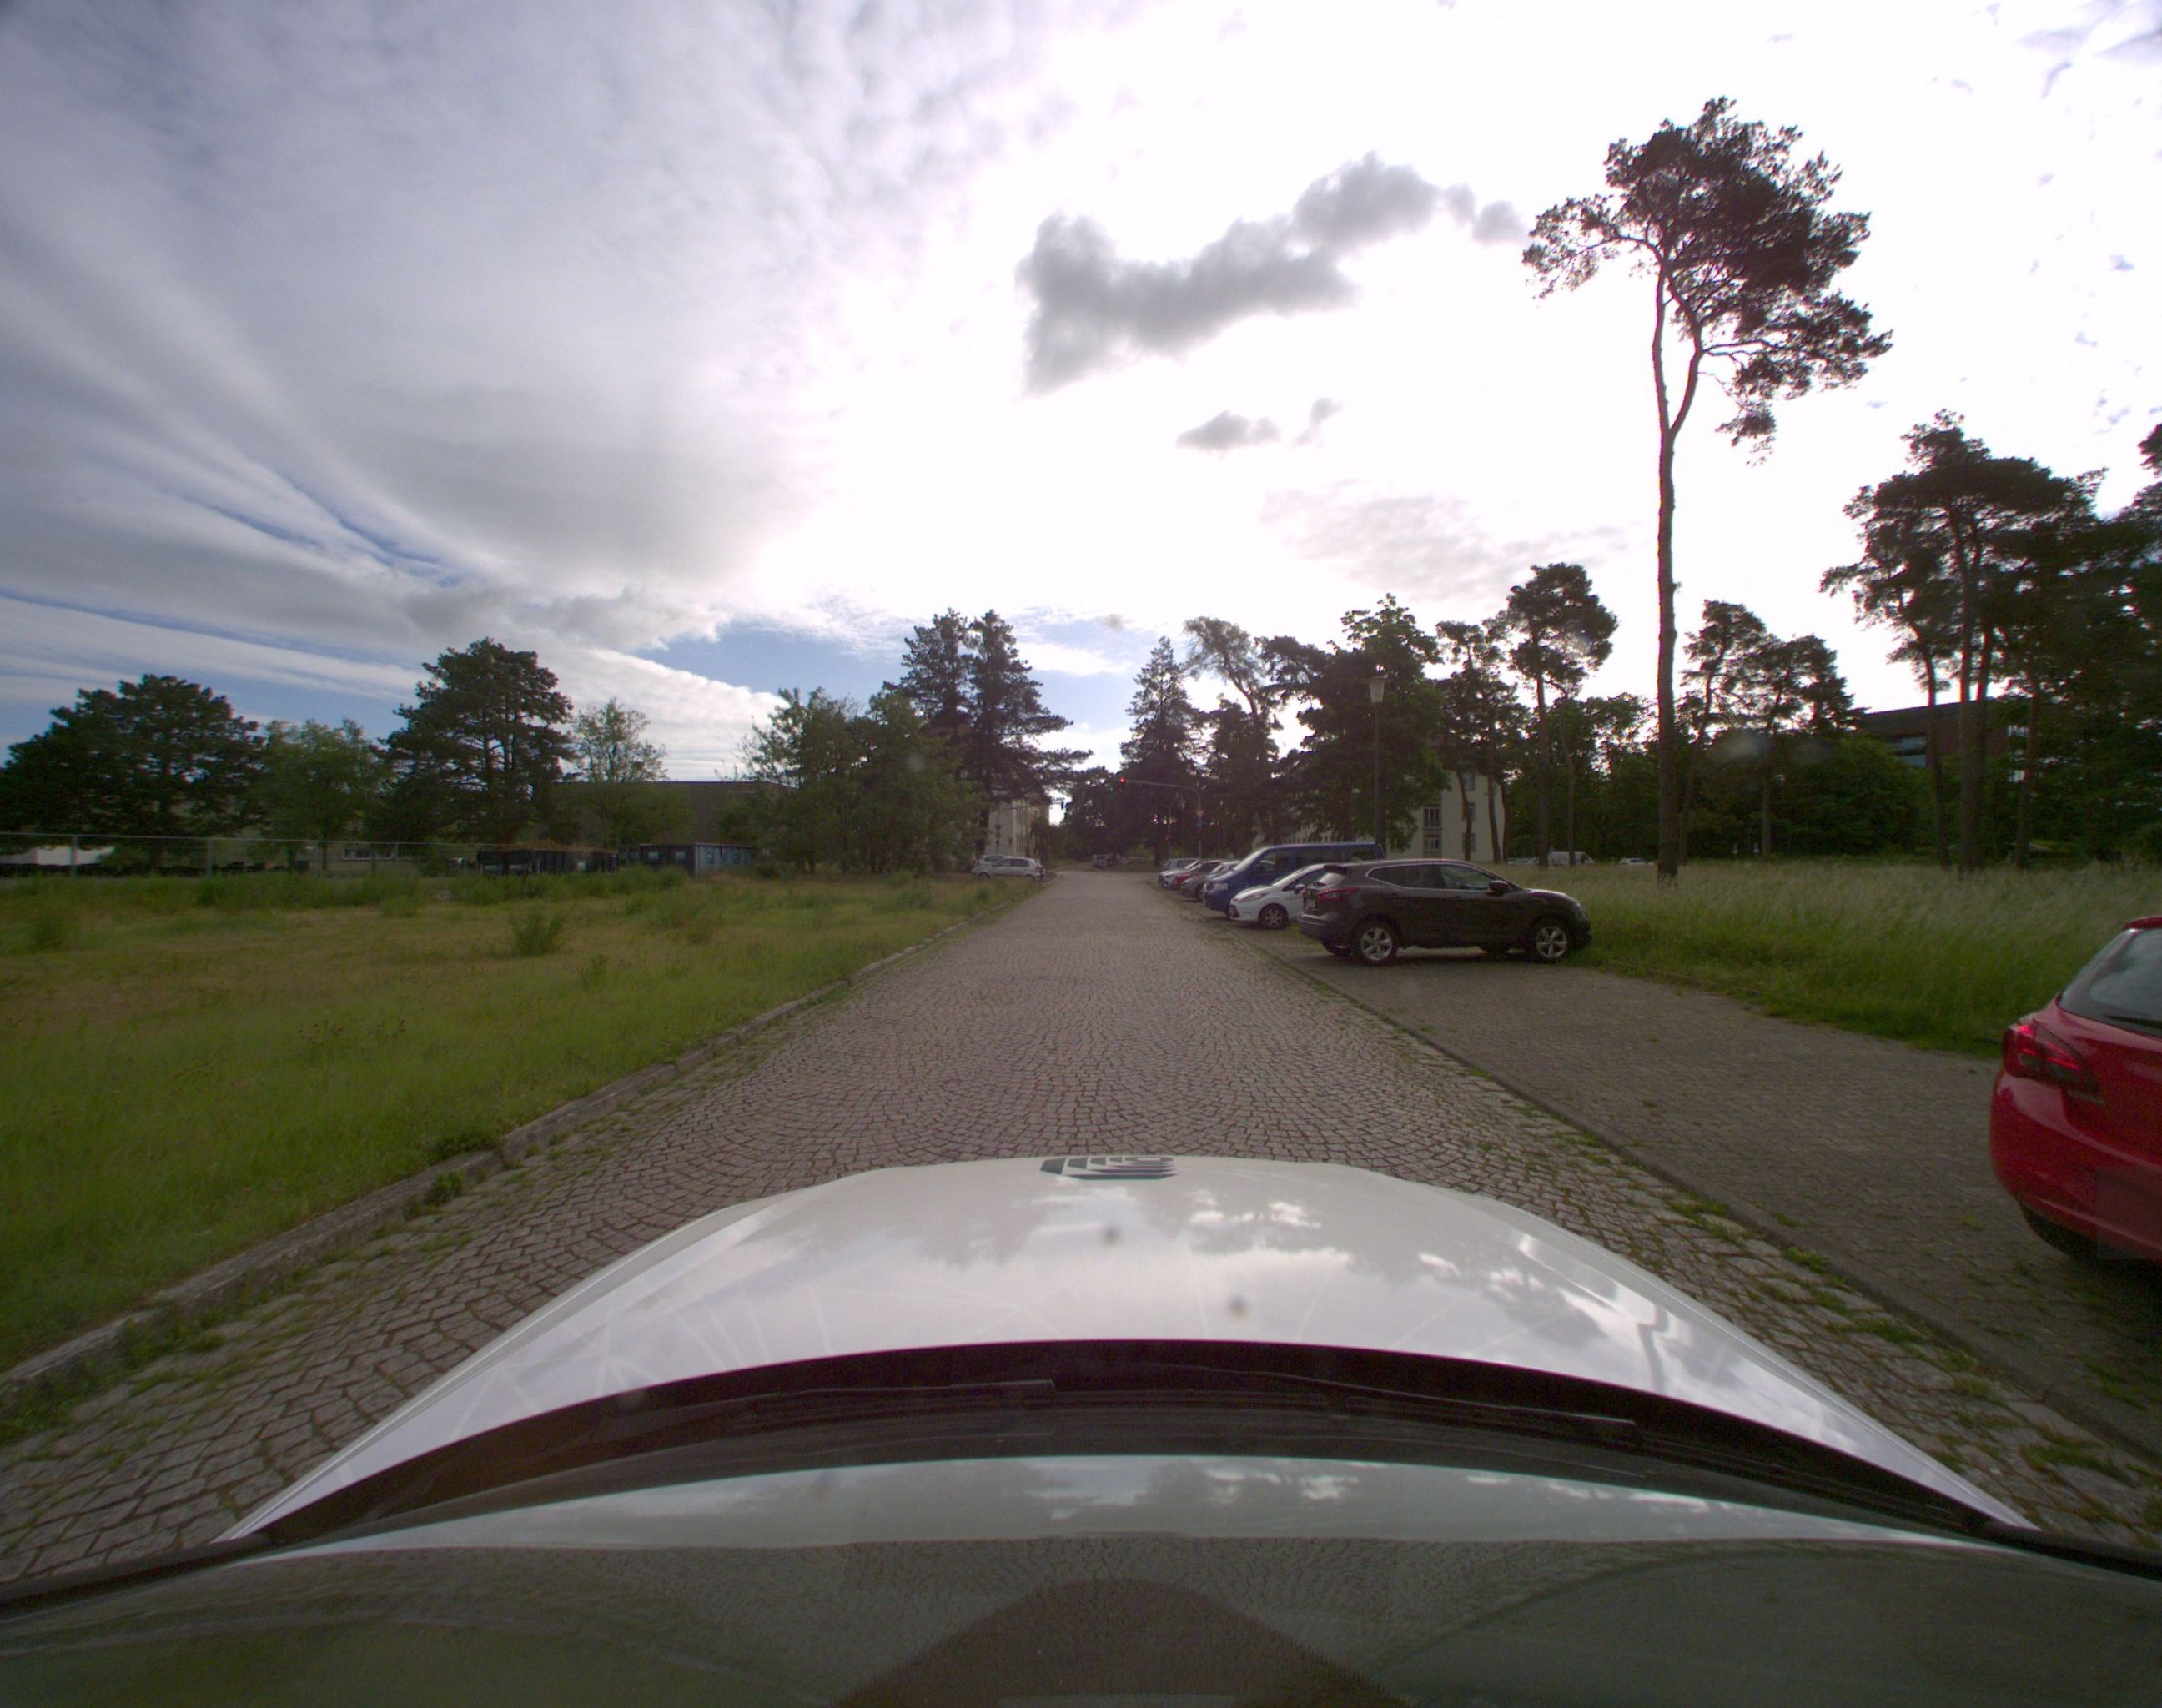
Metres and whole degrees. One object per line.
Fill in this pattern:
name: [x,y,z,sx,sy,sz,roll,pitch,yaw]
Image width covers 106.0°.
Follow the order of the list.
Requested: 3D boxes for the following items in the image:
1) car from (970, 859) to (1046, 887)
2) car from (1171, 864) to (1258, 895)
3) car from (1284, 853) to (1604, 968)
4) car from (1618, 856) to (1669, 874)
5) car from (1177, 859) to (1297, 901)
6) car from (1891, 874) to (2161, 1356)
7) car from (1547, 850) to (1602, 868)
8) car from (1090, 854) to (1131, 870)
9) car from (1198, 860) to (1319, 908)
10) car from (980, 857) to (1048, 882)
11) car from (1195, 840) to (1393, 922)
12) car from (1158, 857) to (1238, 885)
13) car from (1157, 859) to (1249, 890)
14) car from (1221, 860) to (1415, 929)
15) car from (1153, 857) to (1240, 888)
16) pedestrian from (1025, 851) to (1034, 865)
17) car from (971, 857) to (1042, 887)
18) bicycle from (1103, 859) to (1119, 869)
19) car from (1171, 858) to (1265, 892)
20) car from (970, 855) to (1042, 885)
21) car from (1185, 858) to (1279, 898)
car: [-4.204,1.086,47.293,4.291,1.554,1.809,-1,0,-5]
car: [5.773,1.091,35.497,3.572,1.223,1.629,-1,0,2]
car: [5.567,0.822,12.888,4.191,1.595,1.952,-1,0,-1]
car: [60.280,1.187,87.314,4.116,1.804,1.901,1,-1,3]
car: [5.669,0.938,30.005,4.115,1.447,1.766,-1,0,1]
car: [5.390,0.822,2.582,3.911,1.496,1.784,-1,0,-1]
car: [59.367,0.547,98.064,5.280,2.019,2.106,1,-1,2]
car: [4.018,1.100,112.479,5.379,2.101,2.170,0,0,-11]
car: [5.841,0.975,27.098,3.640,1.479,1.766,-1,0,1]
car: [-4.330,0.990,52.556,4.291,1.554,1.809,-1,0,-5]
car: [5.587,0.681,21.793,4.781,2.004,1.965,-1,0,-1]
car: [6.512,0.946,45.518,4.127,1.463,1.631,-1,0,-5]
car: [5.969,0.986,40.202,4.180,1.437,1.751,-1,0,-6]
car: [5.508,0.917,19.246,4.087,1.479,1.720,-1,0,-2]
car: [6.051,0.948,42.969,4.228,1.479,1.704,-1,0,-10]
pedestrian: [-6.983,0.543,110.299,1.070,1.959,1.121,1,-1,1]
car: [-4.036,0.958,44.695,3.711,1.481,1.672,2,0,-2]
bicycle: [3.687,1.243,101.171,1.878,1.171,0.664,1,-1,-5]
car: [6.325,0.945,37.836,4.093,1.476,1.684,-1,0,-1]
car: [-4.573,0.977,50.104,4.290,1.732,1.650,-1,0,-5]
car: [6.036,0.954,32.869,3.493,1.487,1.743,-1,0,0]
